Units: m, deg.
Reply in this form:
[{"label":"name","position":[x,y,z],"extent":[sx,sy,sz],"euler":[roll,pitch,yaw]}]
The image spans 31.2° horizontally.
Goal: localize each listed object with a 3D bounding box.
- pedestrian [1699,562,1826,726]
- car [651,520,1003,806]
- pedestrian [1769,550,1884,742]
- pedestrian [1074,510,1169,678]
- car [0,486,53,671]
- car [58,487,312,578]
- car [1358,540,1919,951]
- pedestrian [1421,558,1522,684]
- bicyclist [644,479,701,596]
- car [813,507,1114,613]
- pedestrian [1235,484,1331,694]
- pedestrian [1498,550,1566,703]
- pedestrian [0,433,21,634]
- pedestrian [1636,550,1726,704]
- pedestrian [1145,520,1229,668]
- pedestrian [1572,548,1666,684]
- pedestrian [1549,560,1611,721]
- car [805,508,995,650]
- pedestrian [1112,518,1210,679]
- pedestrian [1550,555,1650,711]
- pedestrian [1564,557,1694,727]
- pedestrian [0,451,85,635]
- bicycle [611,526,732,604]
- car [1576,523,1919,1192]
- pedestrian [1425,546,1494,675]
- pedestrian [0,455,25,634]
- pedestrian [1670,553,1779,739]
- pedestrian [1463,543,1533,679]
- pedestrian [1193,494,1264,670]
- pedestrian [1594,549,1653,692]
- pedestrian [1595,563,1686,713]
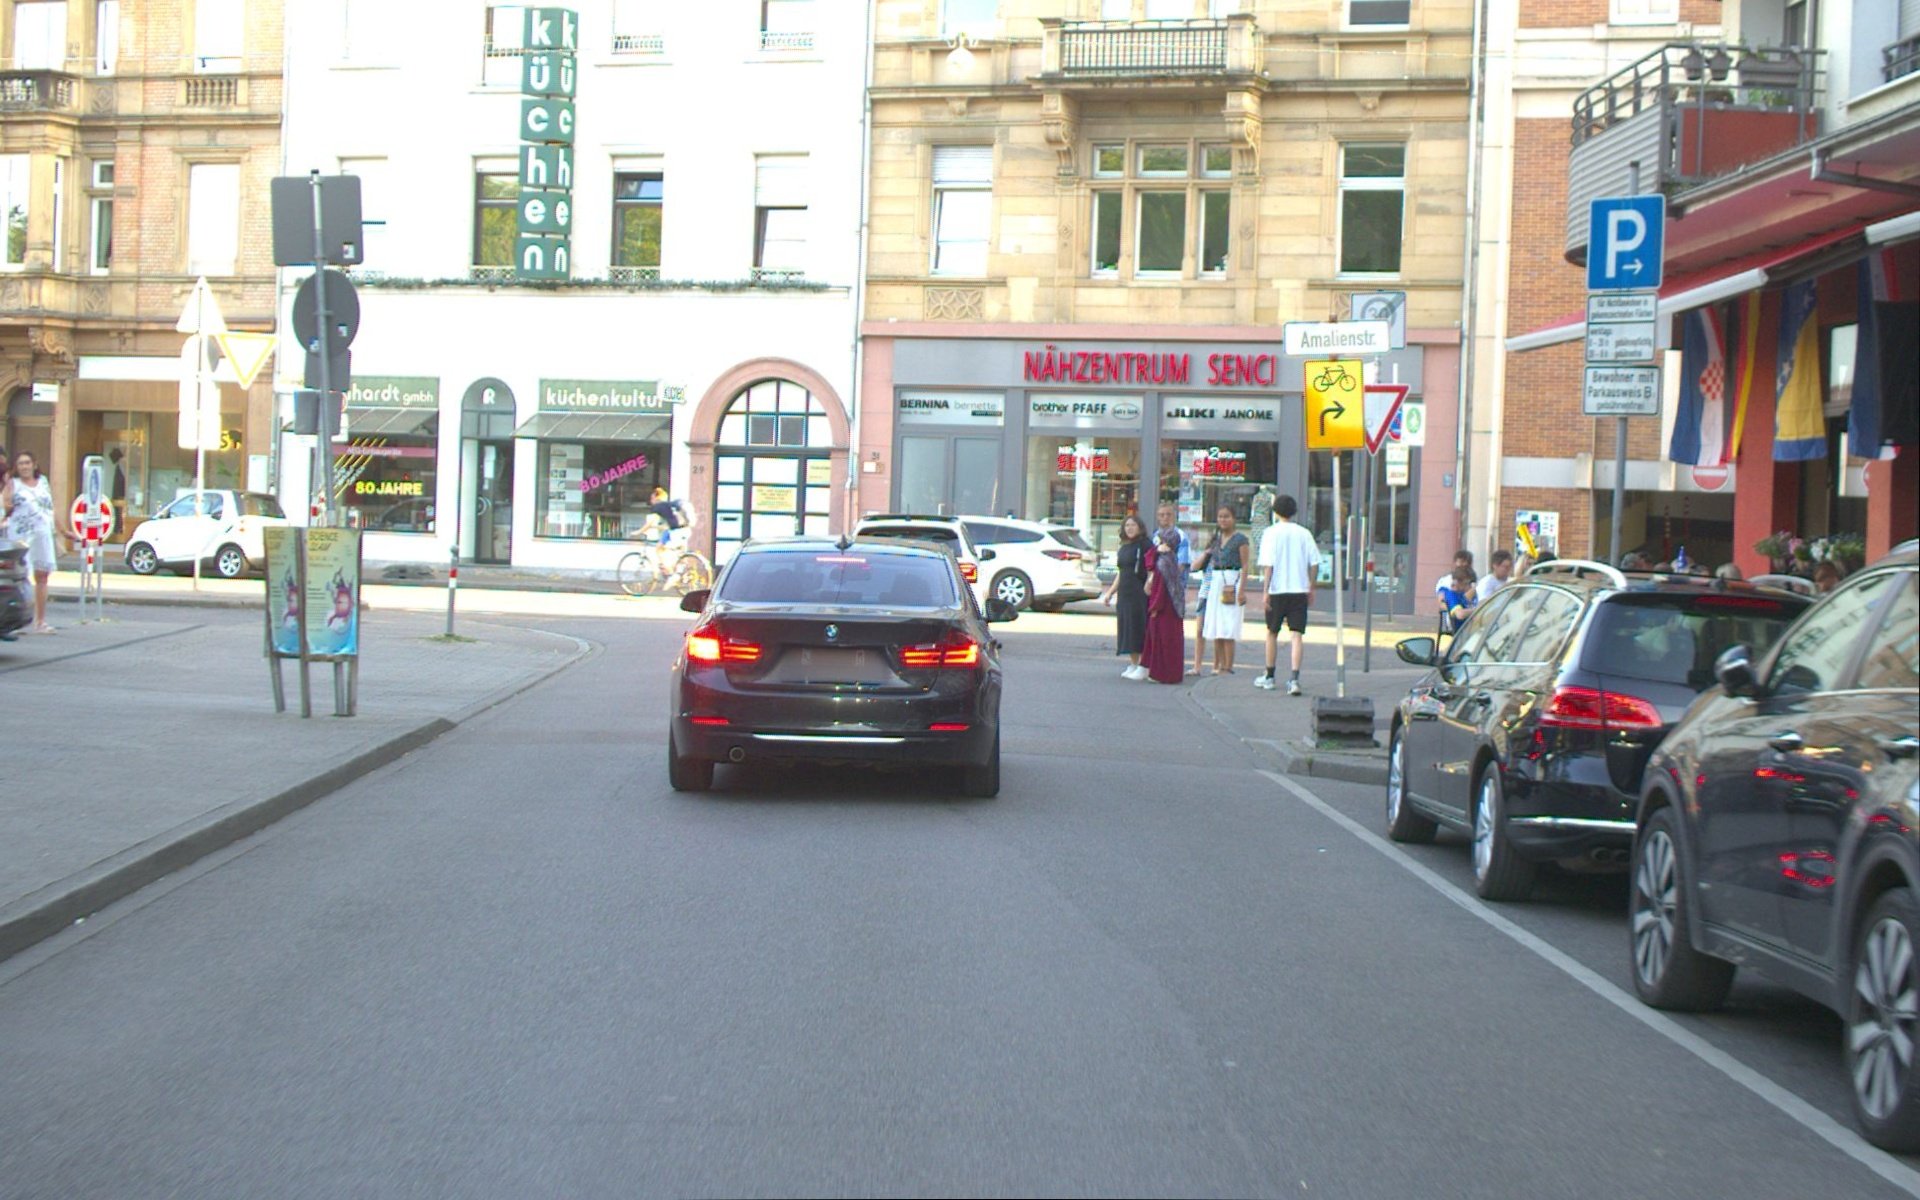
[{"label":"pedestrian","position":[6.193,0.331,26.552],"extent":[0.779,1.219,0.714],"euler":[-1,1,-1]},{"label":"car","position":[-0.724,0.270,20.113],"extent":[1.765,1.370,4.791],"euler":[2,2,-1]},{"label":"pedestrian","position":[6.179,0.319,24.535],"extent":[0.606,1.343,0.696],"euler":[0,1,-2]},{"label":"pedestrian","position":[1.593,-0.068,33.927],"extent":[0.724,1.603,0.650],"euler":[3,1,-10]},{"label":"car","position":[-9.694,-0.229,28.582],"extent":[3.986,1.496,1.892],"euler":[1,2,-9]},{"label":"car","position":[-13.561,-1.180,60.139],"extent":[3.991,1.505,1.798],"euler":[2,1,21]},{"label":"car","position":[3.135,0.552,16.331],"extent":[1.765,1.497,4.791],"euler":[4,2,-1]},{"label":"pedestrian","position":[4.833,0.192,32.496],"extent":[0.890,1.146,0.619],"euler":[1,2,6]},{"label":"bicyclist","position":[-4.386,-0.952,52.446],"extent":[0.619,1.750,0.524],"euler":[3,1,28]},{"label":"car","position":[0.055,-0.642,54.492],"extent":[4.356,1.557,1.866],"euler":[2,1,21]},{"label":"pedestrian","position":[2.955,-0.108,31.497],"extent":[0.676,1.871,0.701],"euler":[2,1,-5]},{"label":"pedestrian","position":[4.924,0.223,29.605],"extent":[0.491,1.298,0.418],"euler":[-1,1,-1]},{"label":"pedestrian","position":[-9.259,-0.633,32.416],"extent":[0.583,1.875,0.633],"euler":[1,2,5]},{"label":"pedestrian","position":[5.728,0.208,27.307],"extent":[0.417,1.197,0.537],"euler":[-3,2,-44]},{"label":"pedestrian","position":[2.311,-0.067,35.009],"extent":[0.815,1.469,0.606],"euler":[1,2,3]},{"label":"pedestrian","position":[6.305,0.145,32.904],"extent":[0.618,1.274,0.699],"euler":[2,2,36]},{"label":"pedestrian","position":[4.920,0.319,27.289],"extent":[0.344,1.252,0.359],"euler":[0,2,35]},{"label":"car","position":[-0.619,-0.278,38.733],"extent":[1.877,1.468,4.000],"euler":[1,2,2]},{"label":"pedestrian","position":[1.945,-0.019,33.300],"extent":[0.735,1.508,0.650],"euler":[3,1,-10]},{"label":"pedestrian","position":[5.374,0.270,28.871],"extent":[0.626,1.272,0.511],"euler":[-2,2,-38]},{"label":"pedestrian","position":[5.051,0.311,25.990],"extent":[0.859,1.252,0.491],"euler":[-1,1,-1]},{"label":"pedestrian","position":[-8.926,-0.555,33.150],"extent":[0.673,1.740,0.656],"euler":[2,2,39]},{"label":"bicycle","position":[-4.401,-0.540,52.448],"extent":[1.797,1.104,0.537],"euler":[3,1,28]},{"label":"car","position":[3.289,0.663,10.441],"extent":[1.765,1.636,4.791],"euler":[4,2,-1]},{"label":"pedestrian","position":[4.998,0.096,34.427],"extent":[0.617,1.250,0.735],"euler":[1,2,5]},{"label":"pedestrian","position":[-8.981,-0.520,31.803],"extent":[0.500,1.637,0.521],"euler":[1,2,1]},{"label":"pedestrian","position":[5.370,0.316,24.174],"extent":[0.687,1.282,0.608],"euler":[0,1,8]},{"label":"pedestrian","position":[5.188,0.101,33.163],"extent":[0.617,1.279,0.659],"euler":[1,2,7]},{"label":"pedestrian","position":[2.708,-0.190,34.616],"extent":[0.667,1.740,0.606],"euler":[1,2,5]},{"label":"pedestrian","position":[6.012,0.179,31.153],"extent":[0.490,1.272,0.521],"euler":[1,2,12]},{"label":"pedestrian","position":[5.555,0.306,28.062],"extent":[0.417,1.197,0.569],"euler":[-3,2,-43]}]
